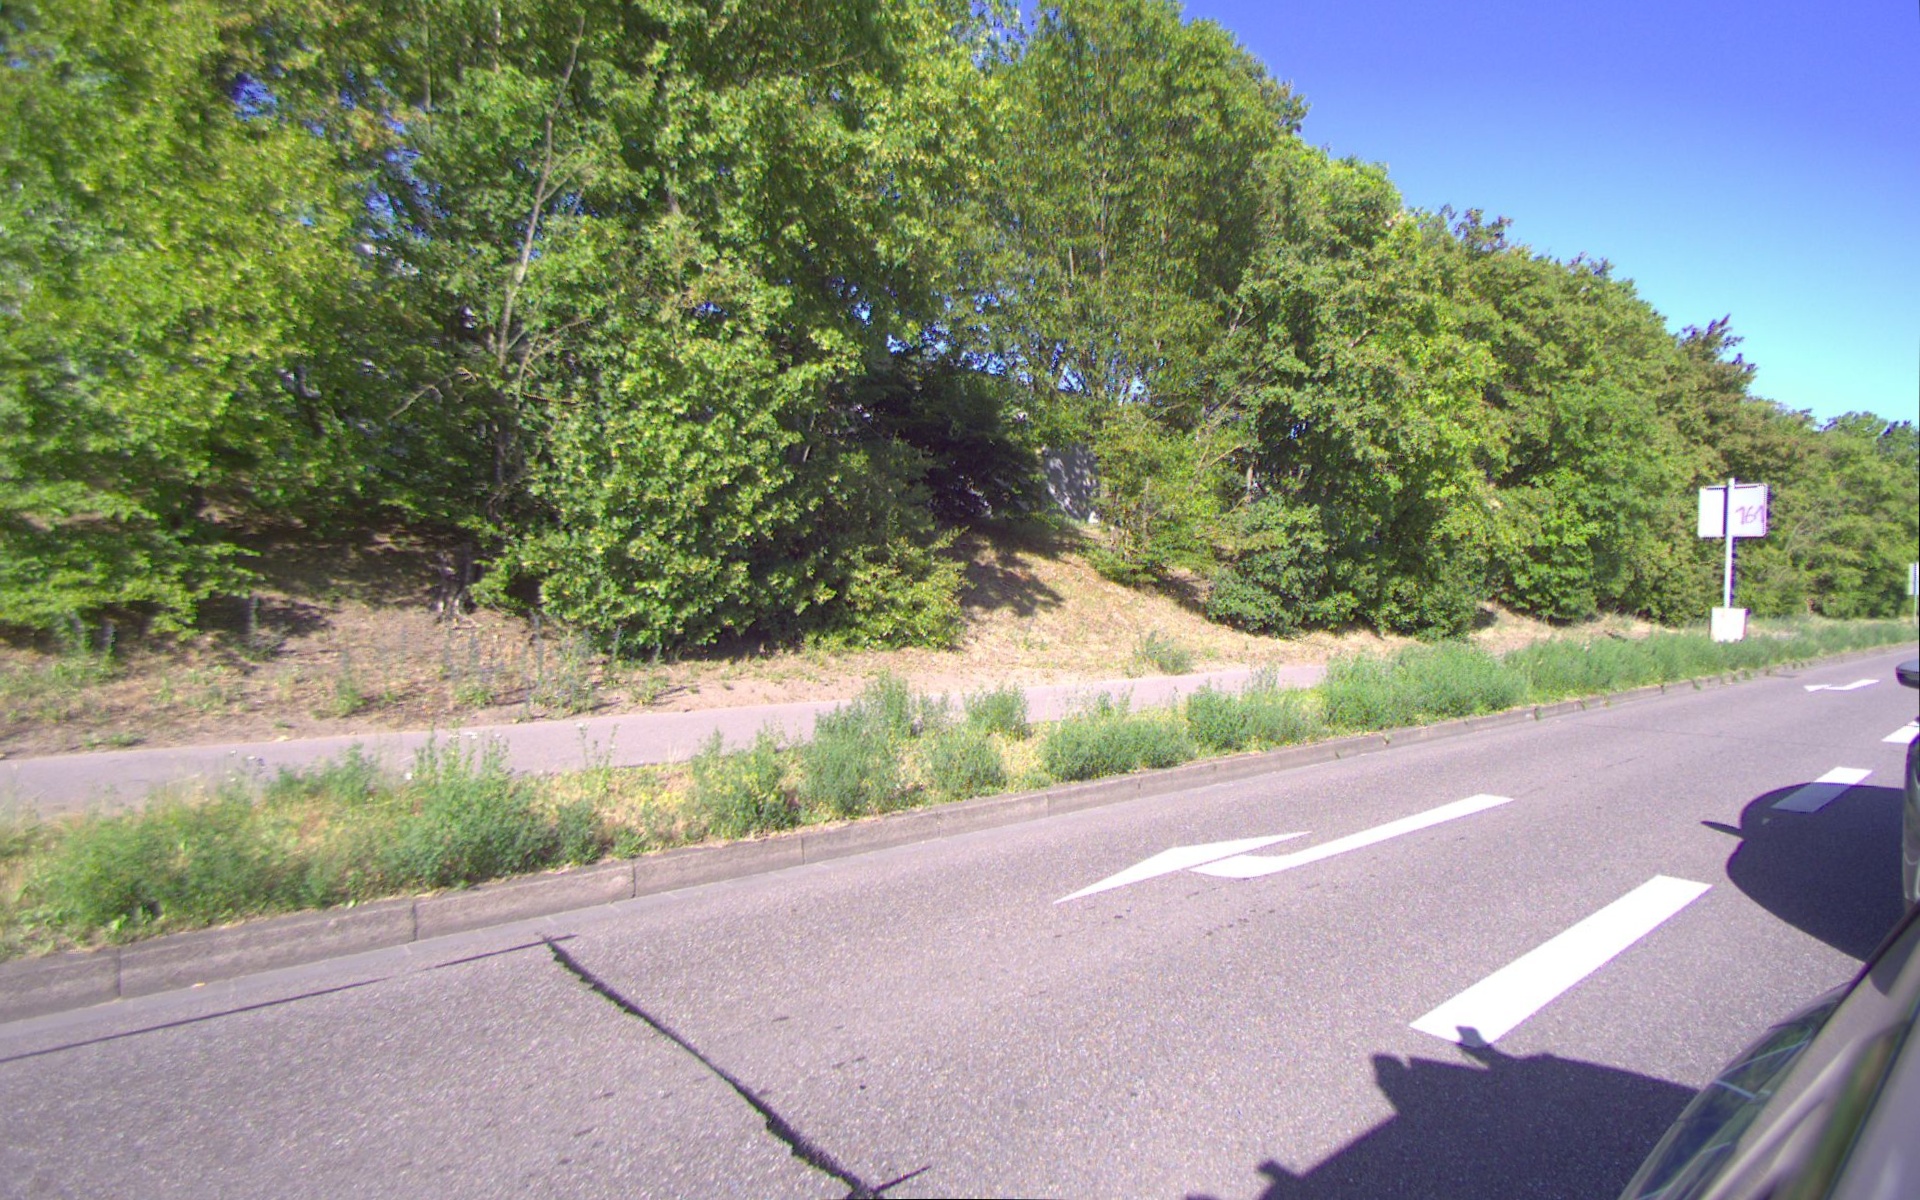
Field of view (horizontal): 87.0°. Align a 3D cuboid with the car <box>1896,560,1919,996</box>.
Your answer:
[{"bbox_3d":[5.708,0.657,4.517,4.327,1.603,1.860,0,0,-42],"label":"car"}]
